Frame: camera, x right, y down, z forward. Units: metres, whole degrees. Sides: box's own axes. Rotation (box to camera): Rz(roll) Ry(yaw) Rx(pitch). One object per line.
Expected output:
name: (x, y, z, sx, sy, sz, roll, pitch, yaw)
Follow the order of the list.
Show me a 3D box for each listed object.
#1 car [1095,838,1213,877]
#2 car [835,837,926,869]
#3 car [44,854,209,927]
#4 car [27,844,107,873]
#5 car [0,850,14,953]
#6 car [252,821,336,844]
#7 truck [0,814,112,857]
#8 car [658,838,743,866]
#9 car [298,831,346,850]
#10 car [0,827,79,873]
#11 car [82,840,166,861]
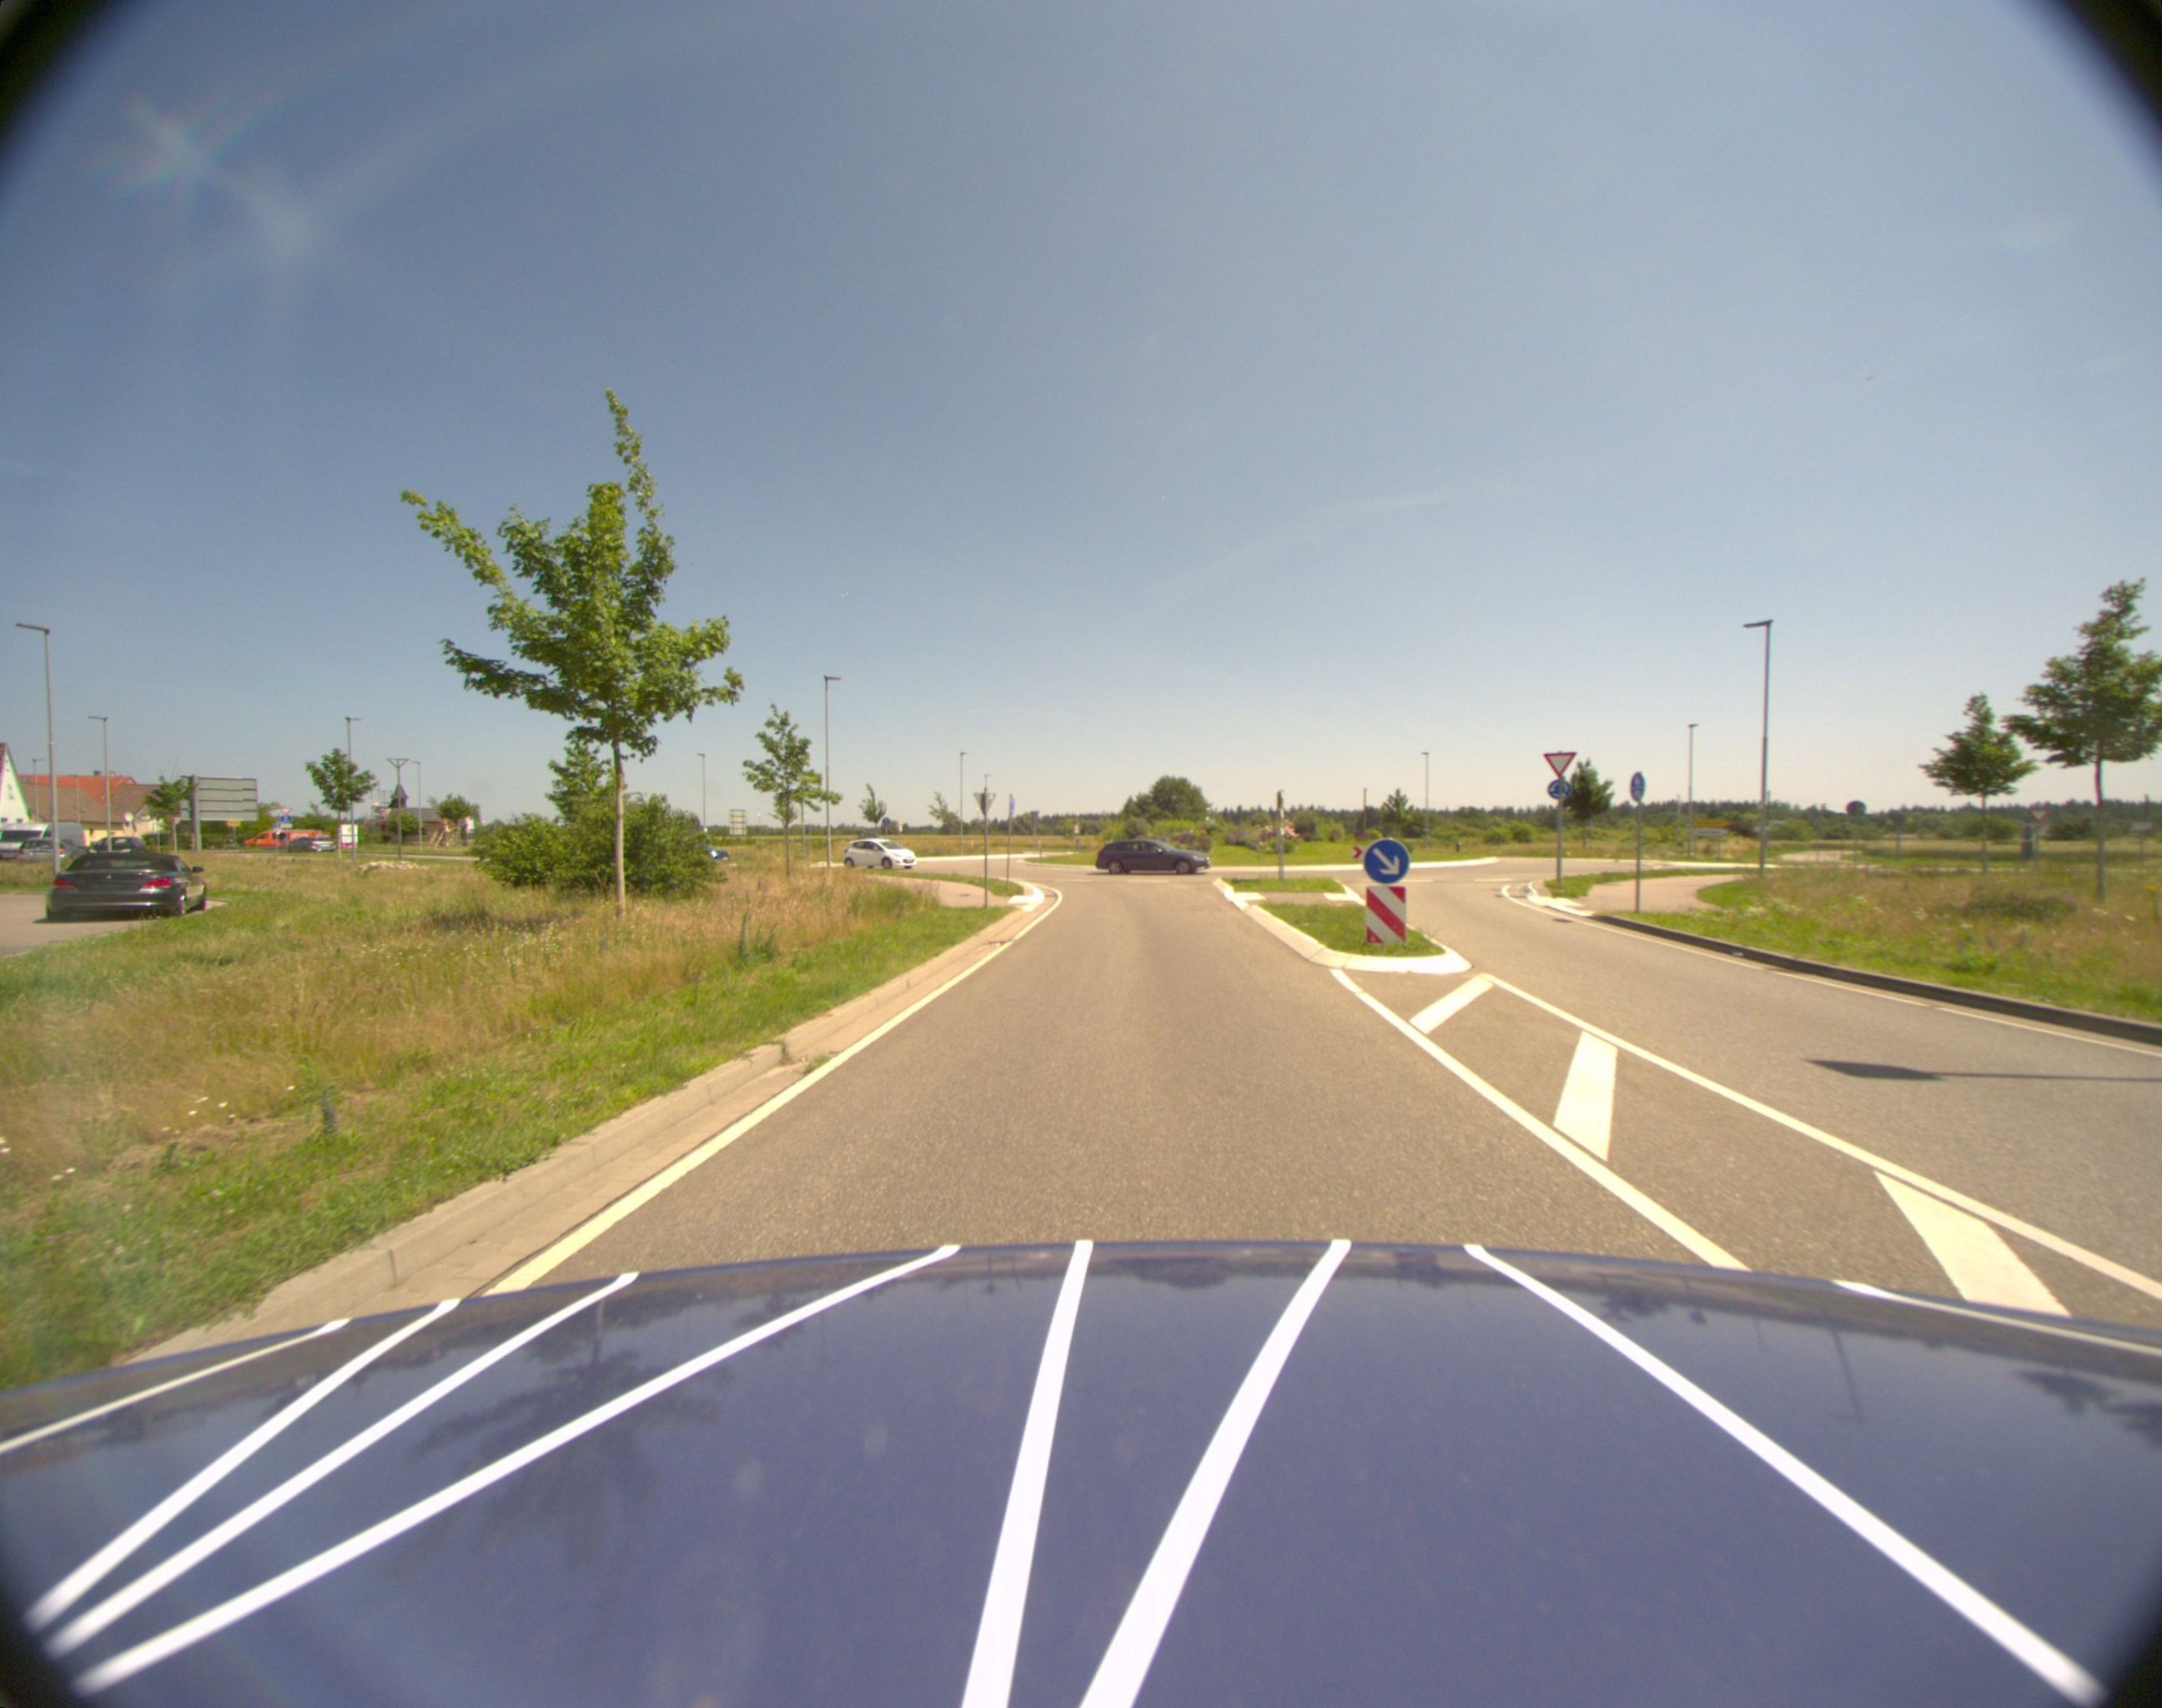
car: (3.016, 0.097, 31.612, 4.509, 1.427, 1.871, 1, 4, 24)
car: (-10.698, -0.085, 40.520, 4.509, 1.553, 1.872, 1, 3, 26)
car: (-20.497, 0.696, 16.491, 1.751, 1.304, 3.988, -2, 2, -45)
car: (-55.849, 0.191, 41.929, 1.858, 1.487, 3.988, -1, 2, -42)
car: (-14.573, 0.700, 8.697, 1.751, 1.420, 3.988, -1, 2, -40)
car: (-89.205, -2.421, 86.217, 6.145, 2.569, 2.351, -1, 1, -26)
truck: (-64.583, -1.157, 47.707, 2.240, 2.492, 5.623, -1, 2, -24)
car: (-22.058, -0.132, 44.142, 4.145, 1.553, 1.722, 0, 3, 8)
car: (-66.357, -1.166, 66.442, 3.989, 1.607, 1.902, 1, 1, 29)
car: (-43.881, -0.181, 31.637, 1.858, 1.820, 3.988, -1, 2, -42)
car: (-62.409, -0.252, 49.641, 1.857, 1.343, 3.759, -1, 2, -25)
